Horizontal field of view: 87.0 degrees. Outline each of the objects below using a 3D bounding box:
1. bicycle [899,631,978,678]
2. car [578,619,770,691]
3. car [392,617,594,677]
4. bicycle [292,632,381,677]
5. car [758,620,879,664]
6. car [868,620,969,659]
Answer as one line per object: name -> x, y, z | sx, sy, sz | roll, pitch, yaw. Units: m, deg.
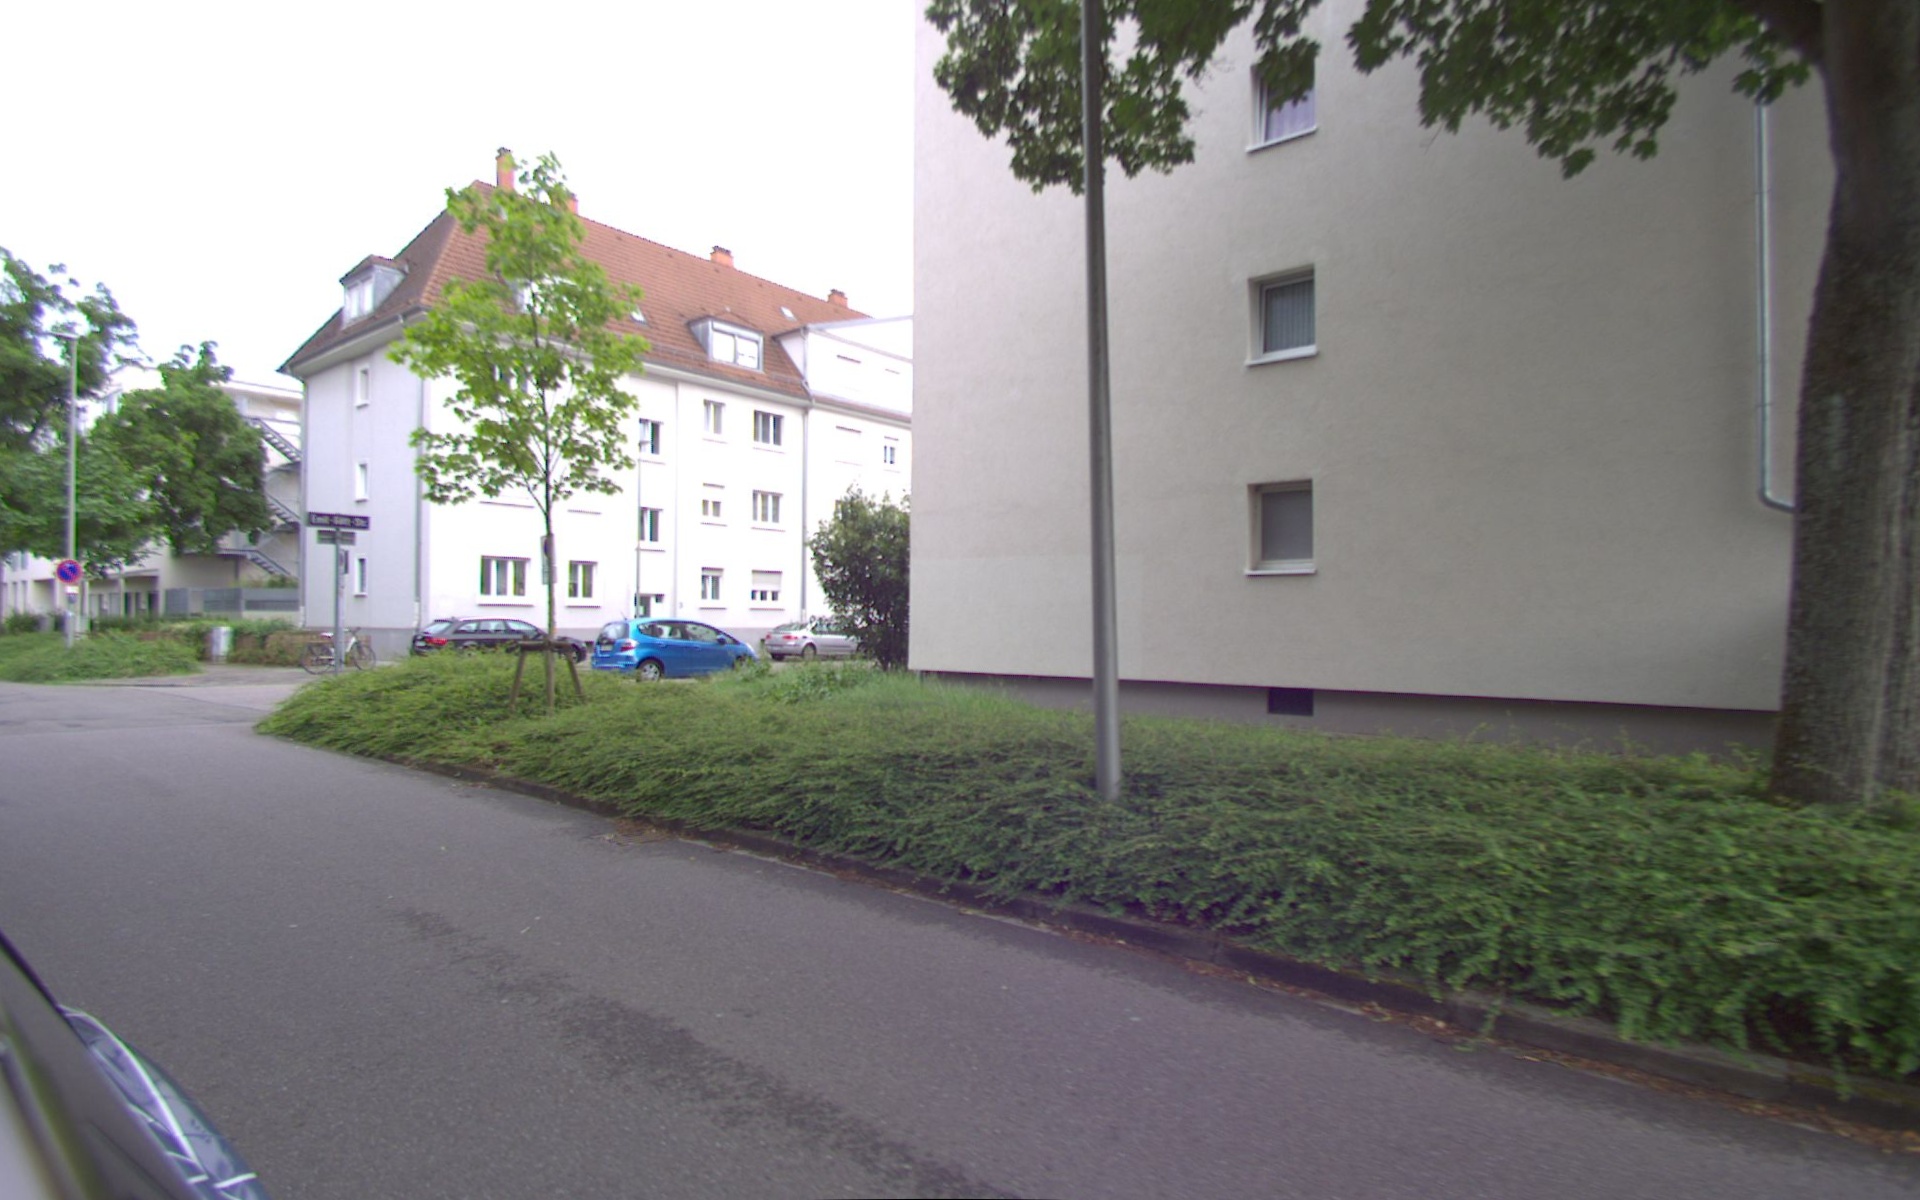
bicycle -> -0.488, 1.277, 24.046 | 0.659, 1.076, 2.093 | -1, -2, 40
car -> -6.382, 1.223, 22.892 | 1.734, 1.474, 3.905 | -4, -4, 39
car -> -12.647, 1.232, 27.680 | 1.864, 1.474, 4.666 | 0, -1, 37
bicycle -> -15.861, 1.371, 25.776 | 0.568, 1.011, 1.864 | 1, 1, 39
car -> -5.045, 1.490, 36.578 | 1.735, 1.474, 4.374 | 0, -2, 37
car -> -1.636, 1.583, 41.218 | 1.785, 1.474, 4.268 | 0, -2, 37
